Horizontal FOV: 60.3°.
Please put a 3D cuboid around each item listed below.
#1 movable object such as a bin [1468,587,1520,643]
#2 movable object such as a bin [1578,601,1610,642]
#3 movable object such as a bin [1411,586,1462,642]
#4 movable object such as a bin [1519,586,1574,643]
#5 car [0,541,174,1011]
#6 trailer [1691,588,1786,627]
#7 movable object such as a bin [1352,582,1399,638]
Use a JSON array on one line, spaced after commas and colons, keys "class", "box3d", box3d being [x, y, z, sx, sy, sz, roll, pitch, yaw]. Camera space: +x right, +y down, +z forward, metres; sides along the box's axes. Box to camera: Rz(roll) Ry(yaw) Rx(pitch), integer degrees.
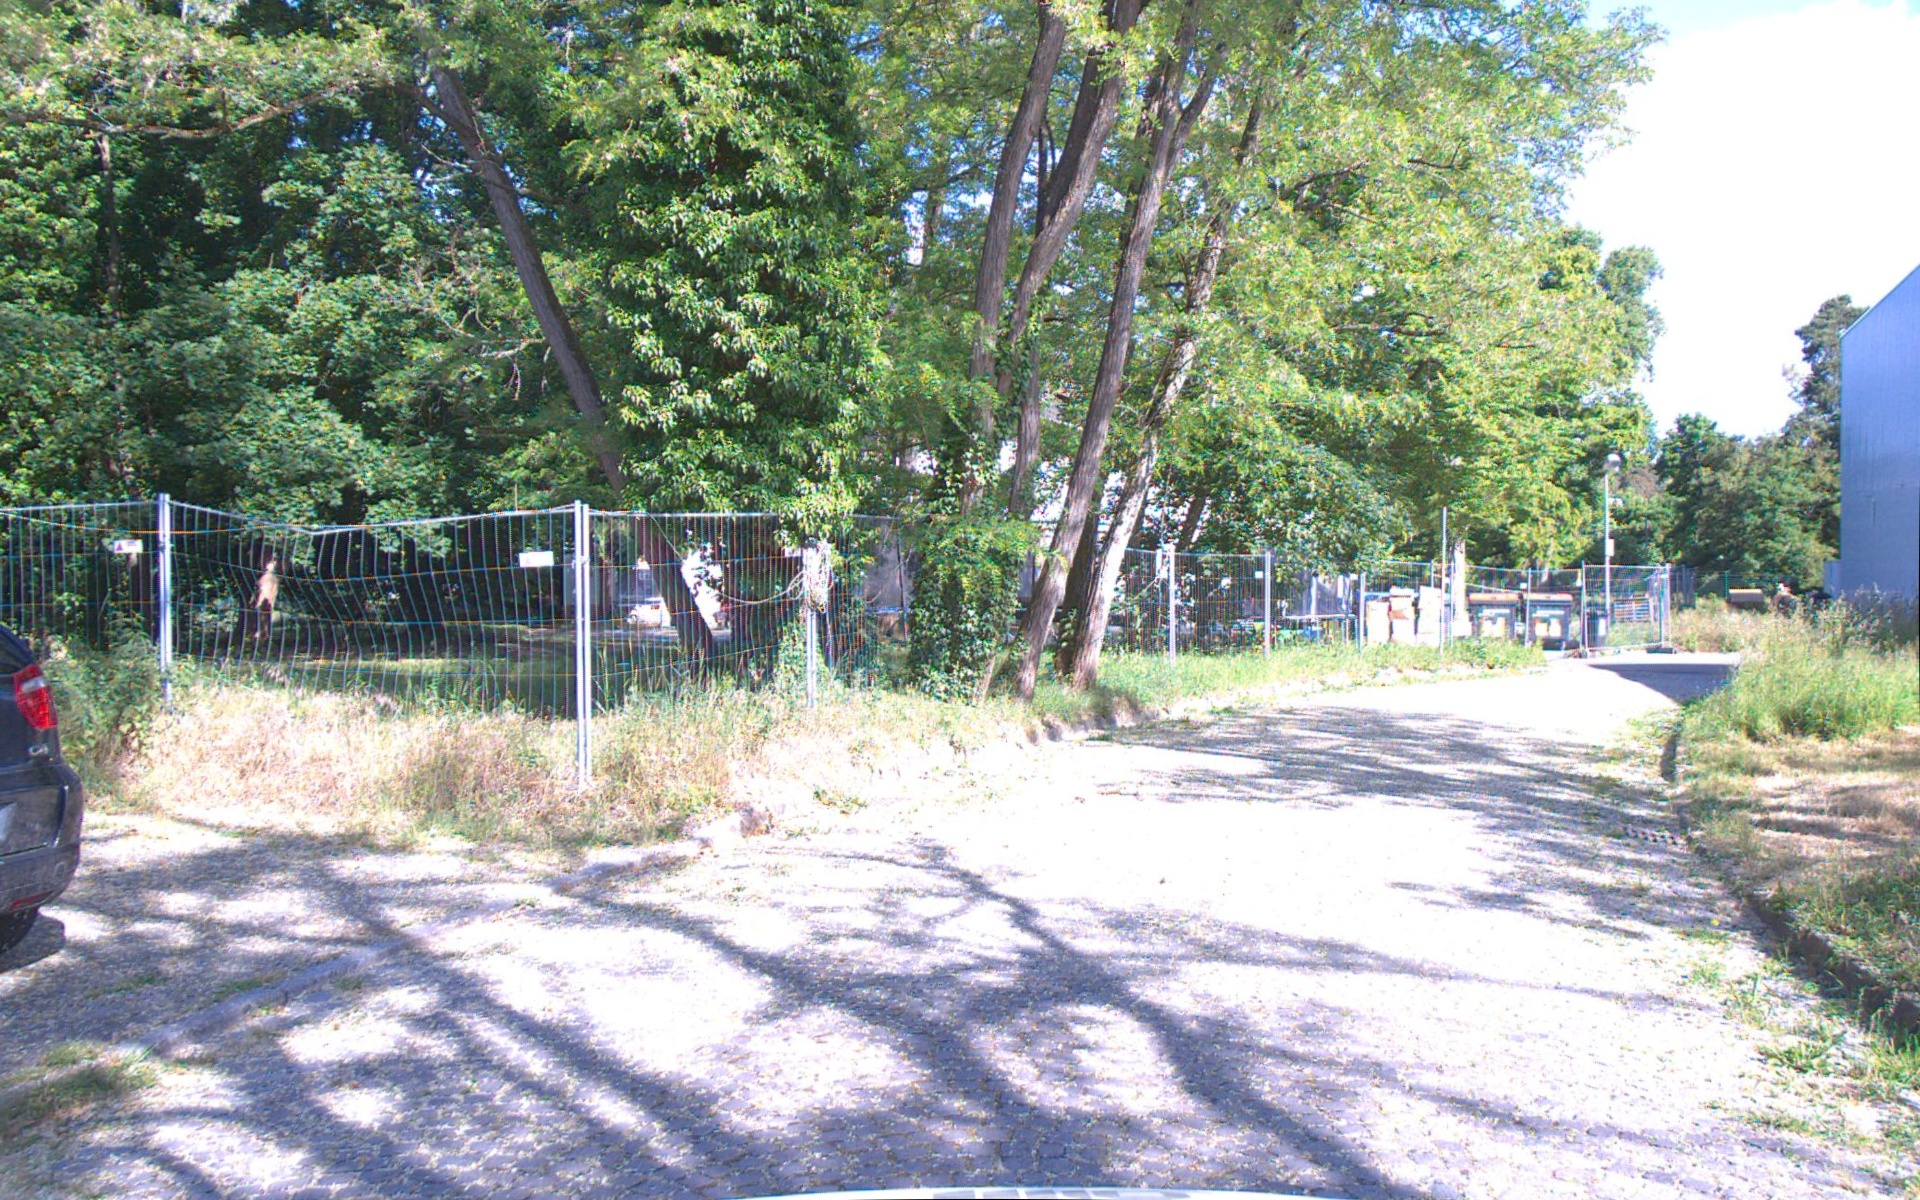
[{"class": "movable object such as a bin", "box3d": [13.911, 0.383, 43.106, 1.260, 1.451, 1.033, 0, 0, 17]}, {"class": "movable object such as a bin", "box3d": [16.149, 0.537, 42.122, 0.630, 1.025, 0.603, -1, 0, 35]}, {"class": "movable object such as a bin", "box3d": [12.568, 0.360, 43.602, 1.260, 1.451, 1.033, 0, 0, 17]}, {"class": "movable object such as a bin", "box3d": [15.144, 0.383, 42.724, 1.260, 1.451, 1.033, 0, 0, 16]}, {"class": "car", "box3d": [-5.365, 0.505, 6.178, 4.170, 1.616, 1.831, 4, 2, 16]}, {"class": "trailer", "box3d": [25.108, 0.245, 53.402, 2.654, 1.221, 1.246, 0, 0, 19]}, {"class": "movable object such as a bin", "box3d": [11.062, 0.267, 44.002, 1.062, 1.463, 1.056, 0, 0, 22]}]
